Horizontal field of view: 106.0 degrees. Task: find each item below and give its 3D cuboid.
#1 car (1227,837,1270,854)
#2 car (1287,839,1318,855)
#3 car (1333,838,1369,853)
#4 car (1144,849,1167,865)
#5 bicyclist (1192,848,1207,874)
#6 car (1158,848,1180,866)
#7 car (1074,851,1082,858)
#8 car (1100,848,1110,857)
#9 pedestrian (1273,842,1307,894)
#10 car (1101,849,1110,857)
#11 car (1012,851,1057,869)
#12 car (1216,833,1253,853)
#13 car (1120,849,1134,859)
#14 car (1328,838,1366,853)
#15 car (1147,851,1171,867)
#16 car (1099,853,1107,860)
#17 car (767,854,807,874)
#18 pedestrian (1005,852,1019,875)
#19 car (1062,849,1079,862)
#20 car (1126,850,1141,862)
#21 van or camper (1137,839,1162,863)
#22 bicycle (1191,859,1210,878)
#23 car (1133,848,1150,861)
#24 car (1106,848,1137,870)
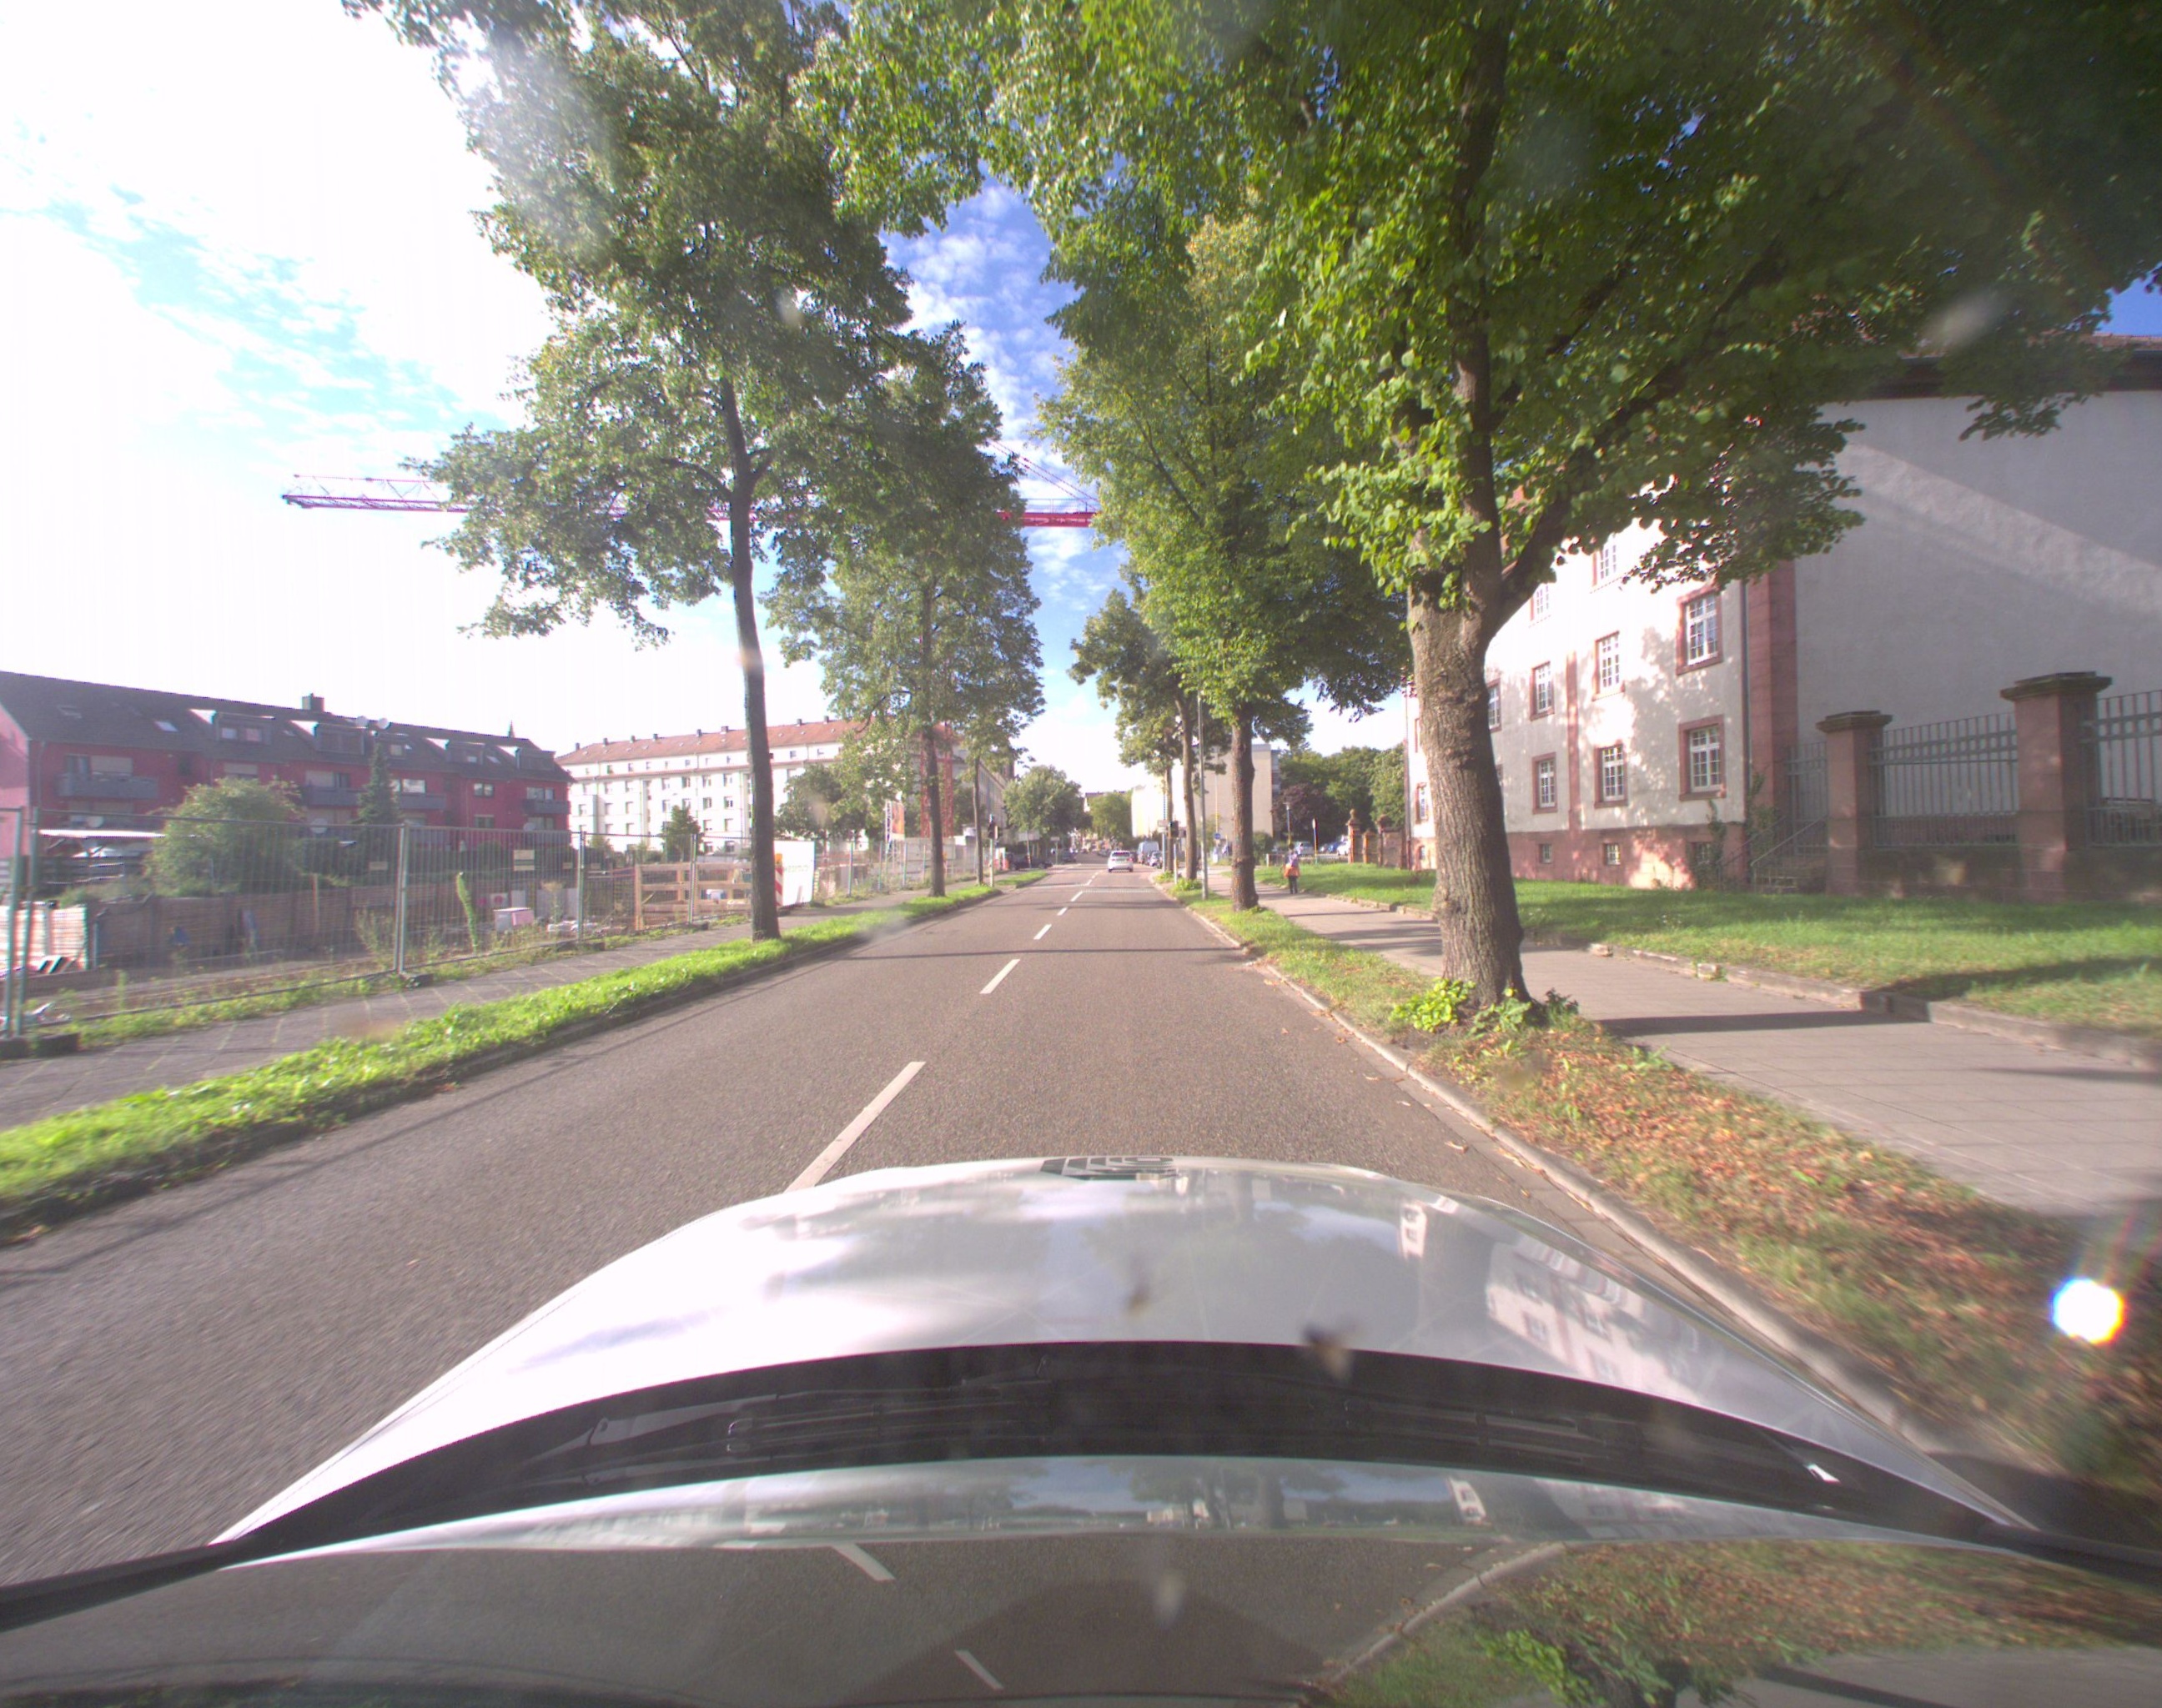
[{"bbox_3d":[18.190,-0.910,88.635,4.426,1.621,2.003,-2,0,5],"label":"car"},{"bbox_3d":[22.348,-0.699,82.418,1.987,1.442,3.999,-2,0,-1],"label":"car"},{"bbox_3d":[27.107,-0.865,81.933,1.990,1.442,3.993,-2,0,-5],"label":"car"},{"bbox_3d":[7.996,0.344,87.841,1.988,1.615,4.406,-2,0,-1],"label":"car"},{"bbox_3d":[7.226,0.423,49.560,0.734,1.513,0.875,-4,0,1],"label":"bicyclist"},{"bbox_3d":[7.634,0.255,71.027,1.710,1.496,4.272,-2,0,3],"label":"car"},{"bbox_3d":[-0.957,0.140,237.300,2.052,1.663,3.920,-3,0,-4],"label":"car"},{"bbox_3d":[5.156,-0.337,171.601,1.985,1.755,4.003,-1,0,3],"label":"car"},{"bbox_3d":[6.710,0.444,26.149,0.811,1.590,0.769,-4,0,1],"label":"pedestrian"},{"bbox_3d":[5.421,-0.126,181.650,1.985,1.755,4.003,-1,0,3],"label":"car"},{"bbox_3d":[-4.329,0.537,75.198,3.984,1.570,1.995,-1,0,-8],"label":"car"},{"bbox_3d":[18.482,-1.350,98.136,4.099,2.186,2.003,-2,0,5],"label":"car"},{"bbox_3d":[7.169,0.001,127.931,1.986,1.574,4.001,-2,0,1],"label":"car"},{"bbox_3d":[32.002,-1.013,98.114,3.973,1.552,2.000,-2,0,1],"label":"car"},{"bbox_3d":[7.880,0.465,82.501,2.008,1.475,4.802,-3,0,1],"label":"car"},{"bbox_3d":[5.447,0.600,202.284,1.985,1.755,4.003,-1,0,3],"label":"car"},{"bbox_3d":[-32.521,1.100,90.182,1.978,2.013,4.018,-2,0,17],"label":"car"},{"bbox_3d":[-5.368,0.731,63.345,1.007,1.728,1.174,-1,-1,-10],"label":"pedestrian"},{"bbox_3d":[-1.478,0.159,110.521,1.990,1.640,3.994,-2,0,-4],"label":"car"},{"bbox_3d":[7.401,0.285,115.280,1.986,1.574,4.001,-2,0,1],"label":"car"},{"bbox_3d":[7.843,-0.382,93.884,2.203,2.607,5.368,-2,0,-2],"label":"van or camper"},{"bbox_3d":[7.255,0.883,49.459,0.737,1.035,2.763,-4,0,2],"label":"bicycle"},{"bbox_3d":[7.801,0.060,104.826,1.986,1.574,4.001,-2,0,1],"label":"car"},{"bbox_3d":[2.935,0.333,60.112,1.988,1.555,4.272,-1,0,-1],"label":"car"}]
